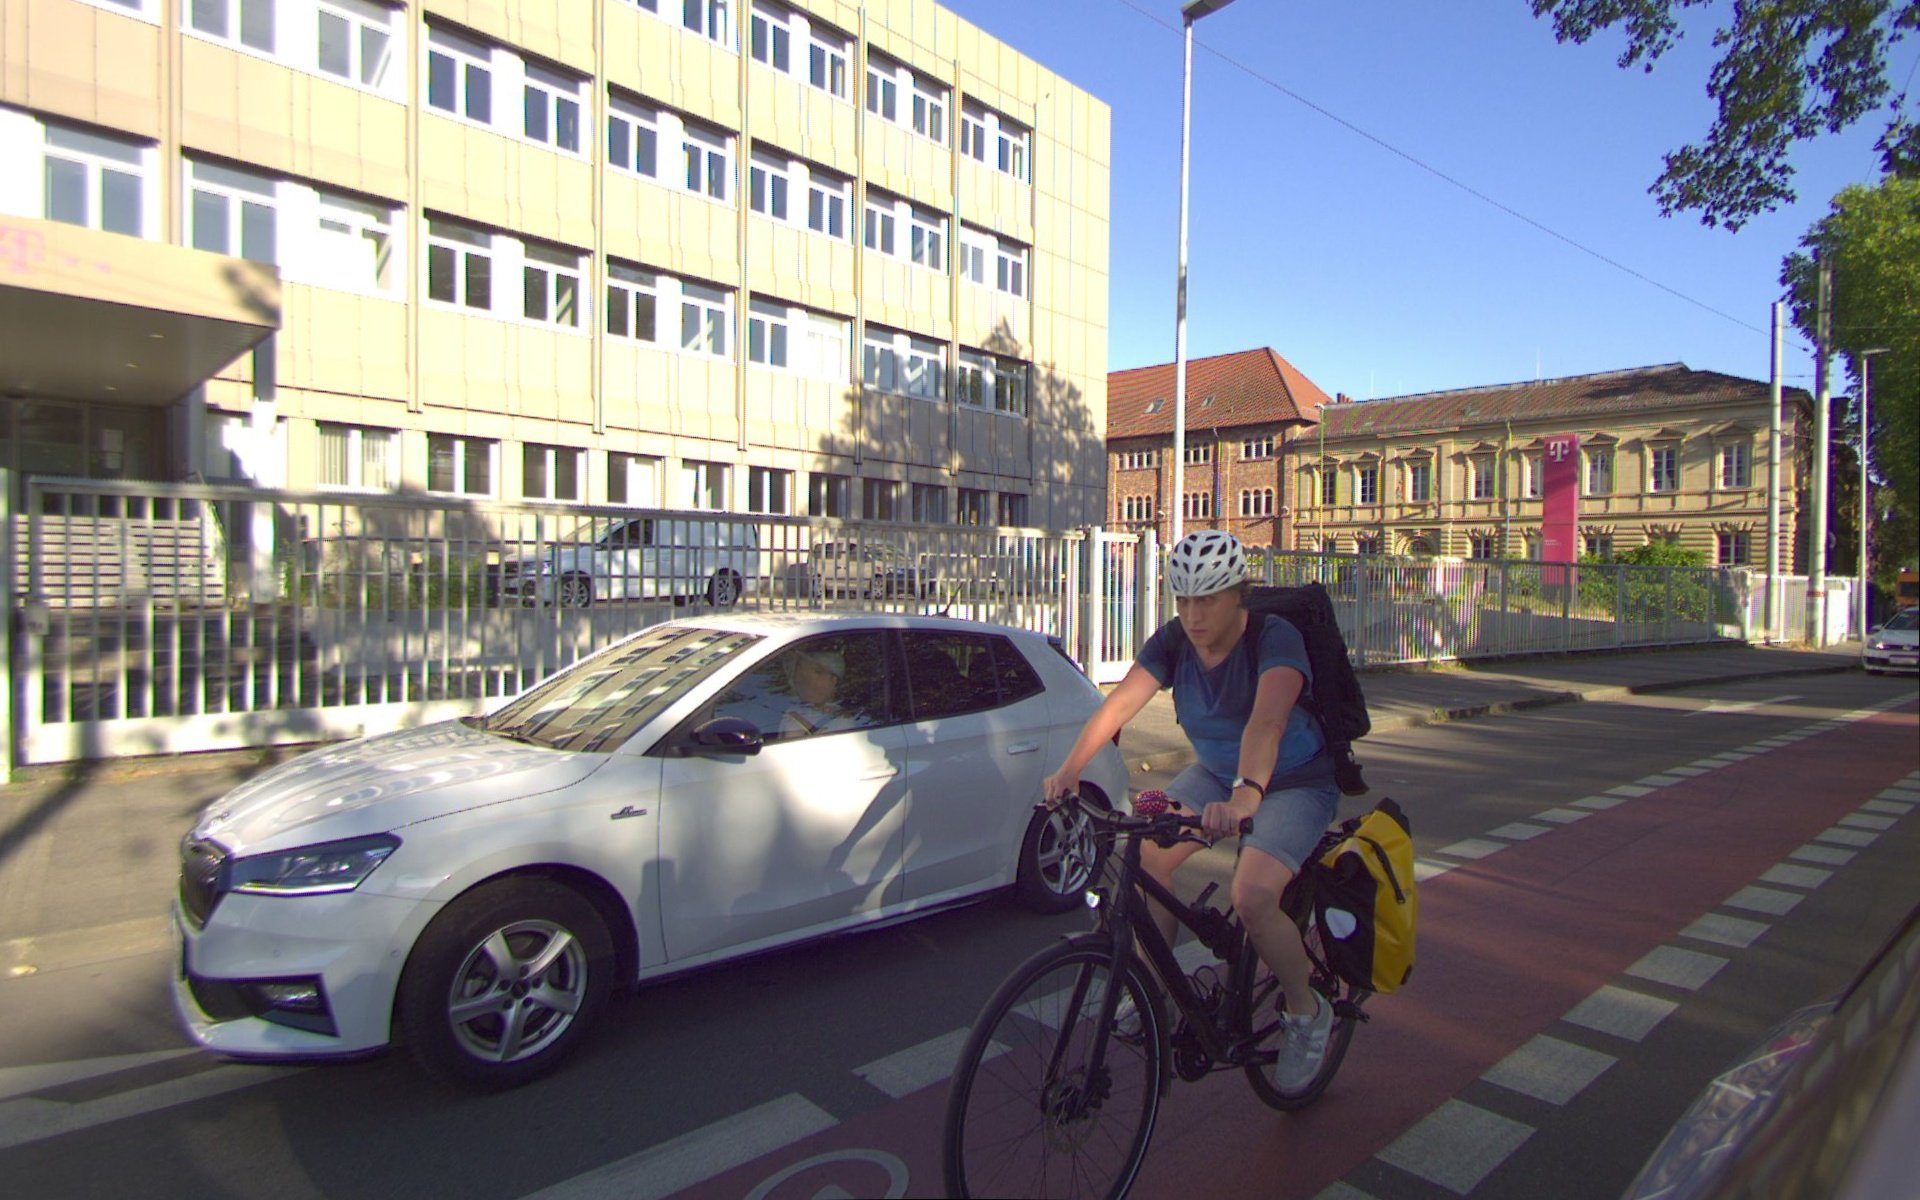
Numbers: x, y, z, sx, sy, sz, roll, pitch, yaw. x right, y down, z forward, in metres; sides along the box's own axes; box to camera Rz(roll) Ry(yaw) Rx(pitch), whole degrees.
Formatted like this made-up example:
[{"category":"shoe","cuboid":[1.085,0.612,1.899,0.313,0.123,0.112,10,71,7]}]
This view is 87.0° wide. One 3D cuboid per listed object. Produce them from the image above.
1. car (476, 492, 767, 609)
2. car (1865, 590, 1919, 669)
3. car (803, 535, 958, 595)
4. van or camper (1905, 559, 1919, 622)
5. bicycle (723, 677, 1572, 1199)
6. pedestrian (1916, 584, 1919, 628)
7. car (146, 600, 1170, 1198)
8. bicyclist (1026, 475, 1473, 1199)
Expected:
[{"category":"car","cuboid":[-6.079,-0.849,18.611,1.994,1.865,4.709,2,2,44]},{"category":"car","cuboid":[20.612,0.543,20.846,4.217,1.521,1.795,-1,-1,-32]},{"category":"car","cuboid":[-2.359,-1.007,29.253,4.564,1.600,1.968,2,2,44]},{"category":"van or camper","cuboid":[42.797,-0.449,44.244,1.994,2.626,5.536,0,1,45]},{"category":"bicycle","cuboid":[0.636,0.866,2.453,2.266,1.158,0.764,-1,2,-40]},{"category":"pedestrian","cuboid":[33.064,0.212,34.190,0.794,1.491,0.900,0,1,-31]},{"category":"car","cuboid":[-0.973,0.729,4.457,4.005,1.406,1.703,-1,1,-42]},{"category":"bicyclist","cuboid":[0.725,0.468,2.534,0.844,1.440,0.727,-1,0,-41]}]
